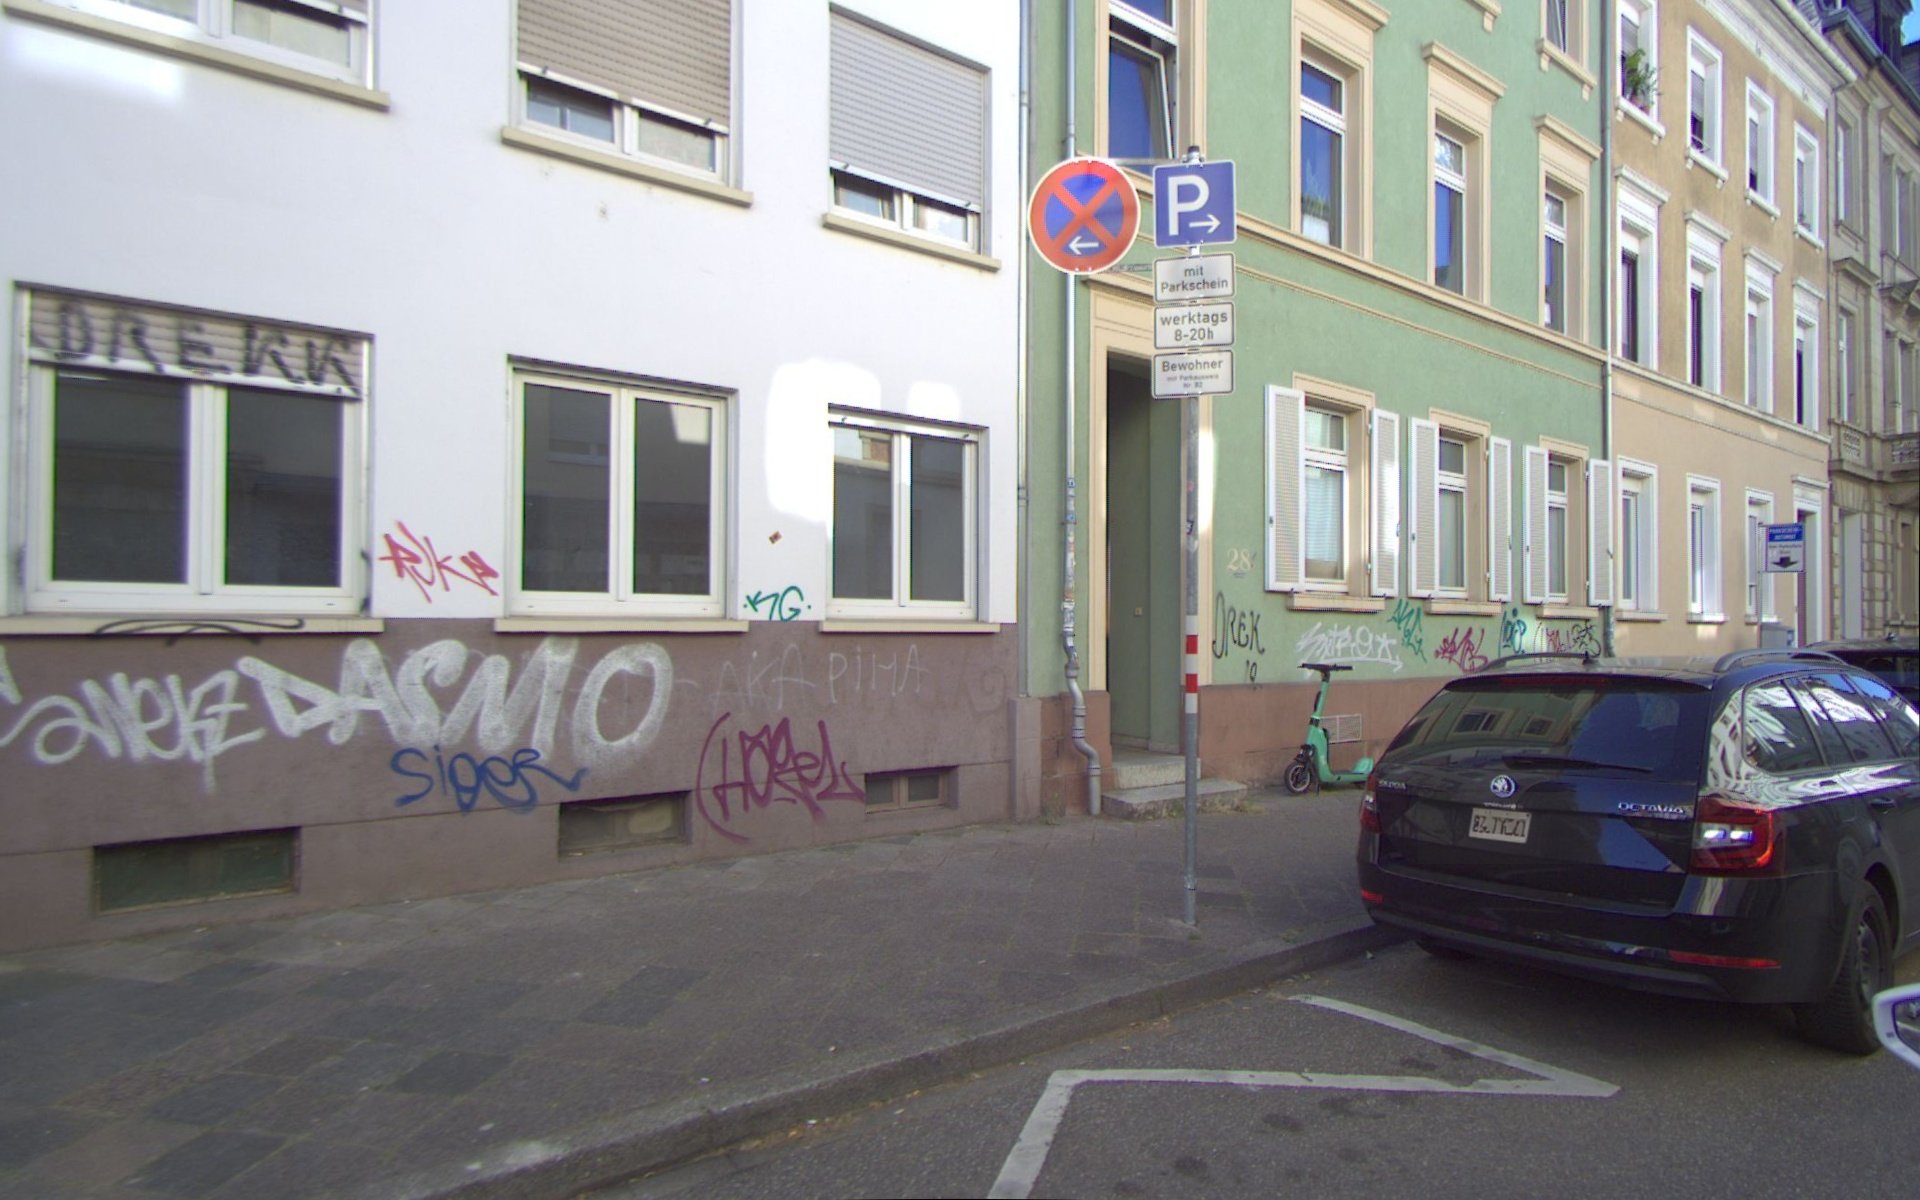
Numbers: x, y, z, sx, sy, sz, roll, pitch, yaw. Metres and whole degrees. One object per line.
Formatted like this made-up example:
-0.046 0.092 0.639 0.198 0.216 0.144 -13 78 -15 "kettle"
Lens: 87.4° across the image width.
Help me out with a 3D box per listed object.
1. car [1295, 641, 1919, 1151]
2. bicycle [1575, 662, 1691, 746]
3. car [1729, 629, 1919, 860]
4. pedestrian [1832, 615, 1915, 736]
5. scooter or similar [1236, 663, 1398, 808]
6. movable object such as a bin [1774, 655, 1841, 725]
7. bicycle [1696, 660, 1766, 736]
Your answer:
3.920 1.004 5.138 4.806 1.507 1.702 2 -5 -36 "car"
8.832 1.341 13.153 1.892 1.042 0.360 2 -2 -26 "bicycle"
8.549 1.077 8.644 4.556 1.636 1.733 1 -3 -35 "car"
13.767 1.108 15.133 0.875 1.737 0.759 1 0 -36 "pedestrian"
3.243 1.176 9.063 1.673 1.197 0.451 2 -2 -33 "scooter or similar"
14.268 1.491 16.913 0.677 1.103 0.729 0 -1 -39 "movable object such as a bin"
11.555 1.447 15.042 1.821 1.070 0.399 3 -3 -39 "bicycle"
